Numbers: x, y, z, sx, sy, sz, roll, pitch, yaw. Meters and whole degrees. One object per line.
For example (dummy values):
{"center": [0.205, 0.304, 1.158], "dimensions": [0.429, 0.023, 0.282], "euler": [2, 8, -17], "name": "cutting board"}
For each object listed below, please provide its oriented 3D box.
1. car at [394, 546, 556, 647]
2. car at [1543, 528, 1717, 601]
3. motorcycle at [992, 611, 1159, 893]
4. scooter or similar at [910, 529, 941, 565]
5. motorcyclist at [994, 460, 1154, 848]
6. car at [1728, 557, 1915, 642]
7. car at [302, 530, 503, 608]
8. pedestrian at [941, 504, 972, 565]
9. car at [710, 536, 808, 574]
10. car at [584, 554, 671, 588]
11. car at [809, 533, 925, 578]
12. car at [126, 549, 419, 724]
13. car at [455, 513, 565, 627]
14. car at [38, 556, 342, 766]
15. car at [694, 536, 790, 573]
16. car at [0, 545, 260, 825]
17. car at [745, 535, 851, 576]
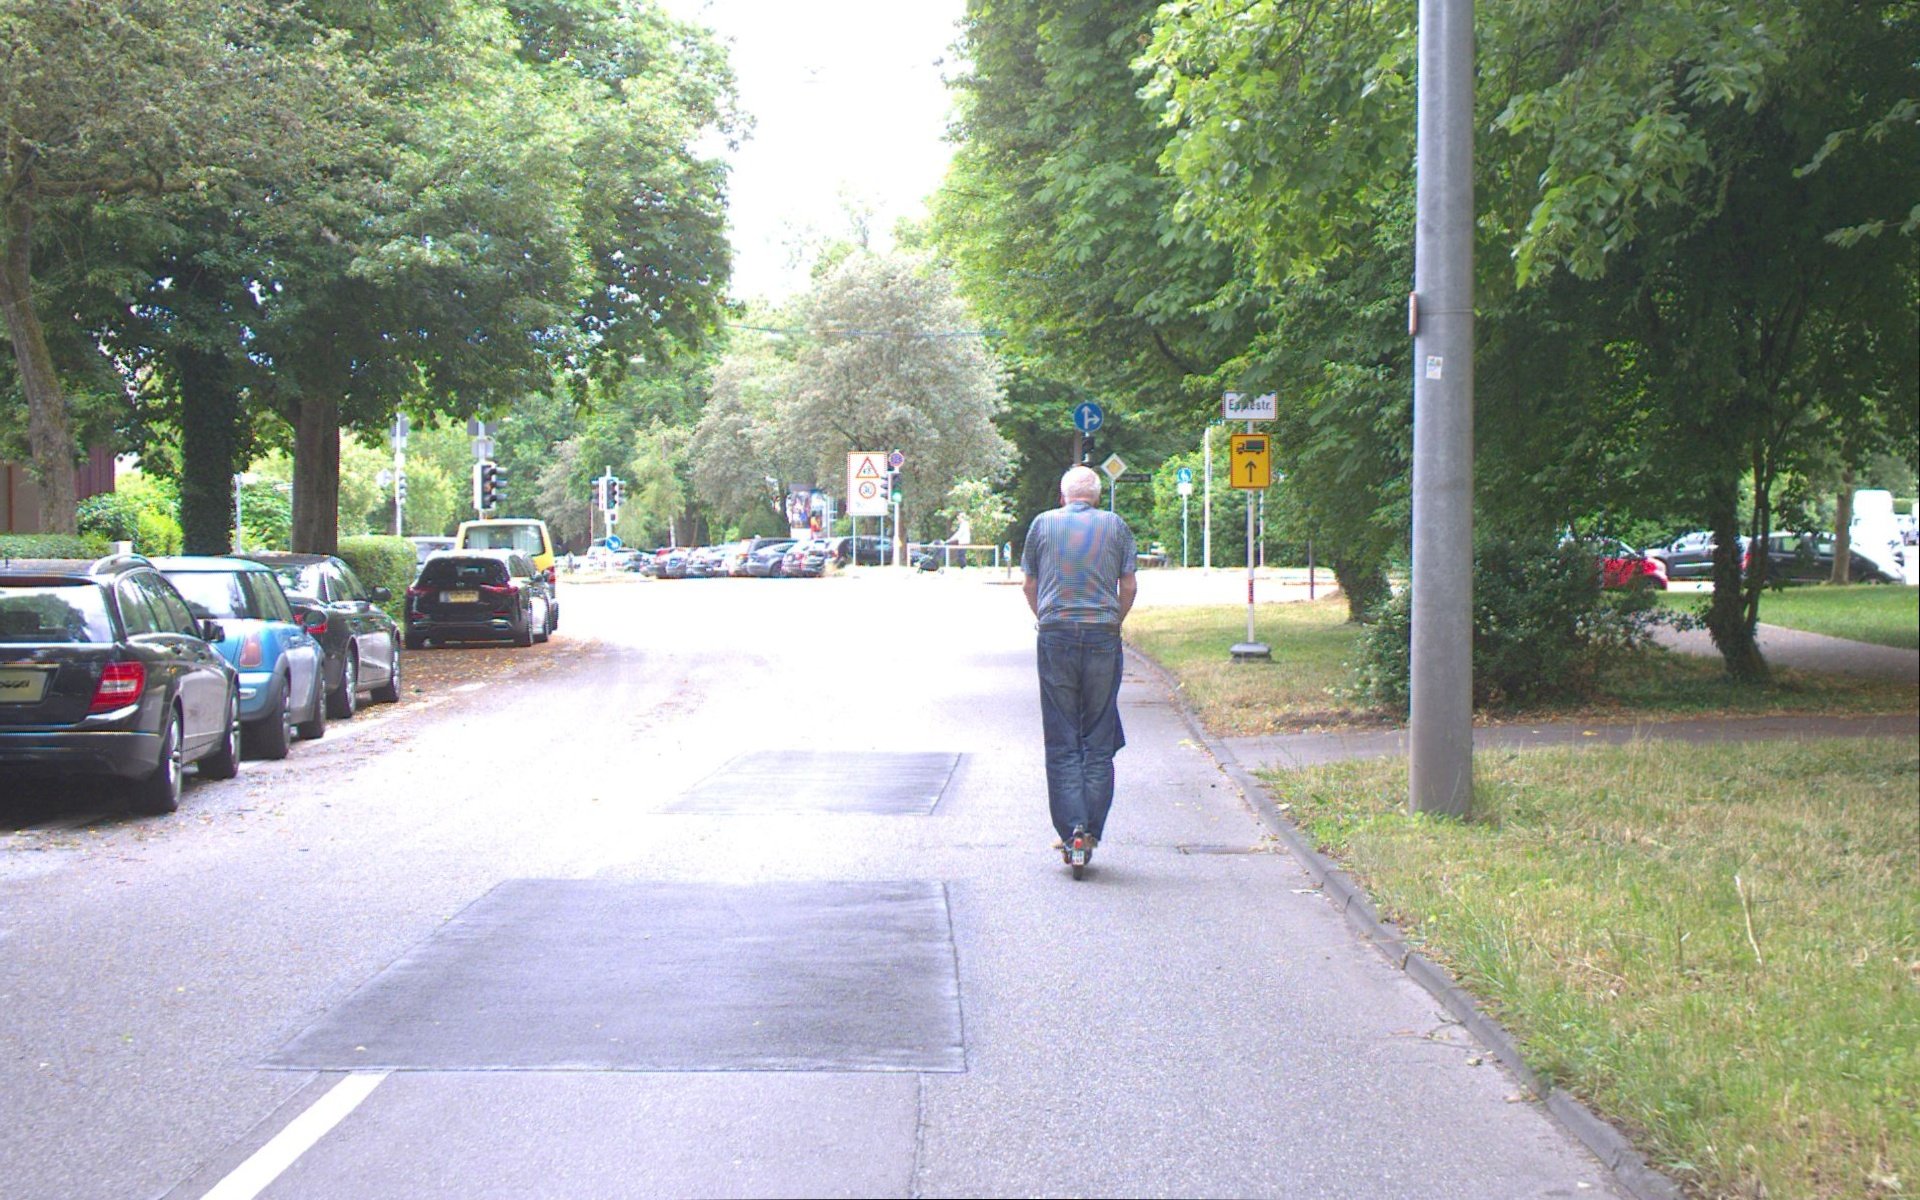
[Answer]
{"center": [-7.157, -0.075, 51.128], "dimensions": [1.891, 1.405, 4.554], "euler": [-1, 1, -2], "name": "car"}
{"center": [15.920, -0.860, 81.855], "dimensions": [3.989, 1.551, 1.800], "euler": [1, 4, 10], "name": "car"}
{"center": [0.518, 0.676, 15.861], "dimensions": [0.673, 1.213, 1.274], "euler": [1, 1, -1], "name": "motorcycle"}
{"center": [-1.002, -1.531, 99.877], "dimensions": [0.710, 1.045, 0.787], "euler": [0, 1, 17], "name": "scooter or similar"}
{"center": [0.523, 0.240, 15.987], "dimensions": [0.673, 1.755, 0.639], "euler": [1, 1, -1], "name": "motorcyclist"}
{"center": [20.220, -0.030, 80.667], "dimensions": [3.992, 1.720, 1.798], "euler": [2, 4, 23], "name": "car"}
{"center": [-11.336, -0.645, 70.115], "dimensions": [3.986, 1.505, 1.801], "euler": [0, 3, -8], "name": "car"}
{"center": [-0.105, -1.903, 99.556], "dimensions": [0.733, 1.756, 0.661], "euler": [0, 1, 17], "name": "pedestrian"}
{"center": [-8.373, -1.885, 143.034], "dimensions": [3.986, 1.505, 1.800], "euler": [-1, 1, -5], "name": "car"}
{"center": [-15.390, -1.337, 159.121], "dimensions": [3.986, 1.505, 1.800], "euler": [-1, 1, -5], "name": "car"}
{"center": [-3.325, -1.587, 122.099], "dimensions": [3.986, 1.505, 1.800], "euler": [-1, 1, -5], "name": "car"}
{"center": [-6.063, 0.267, 30.825], "dimensions": [1.794, 1.405, 4.645], "euler": [-1, 1, -2], "name": "car"}
{"center": [-8.146, -0.548, 62.147], "dimensions": [1.857, 1.957, 4.505], "euler": [-1, 0, -8], "name": "car"}
{"center": [-5.573, 0.389, 25.257], "dimensions": [1.664, 1.387, 3.707], "euler": [-1, 1, -5], "name": "car"}
{"center": [-9.197, -1.925, 144.901], "dimensions": [3.986, 1.505, 1.800], "euler": [-1, 1, -5], "name": "car"}
{"center": [-5.346, 0.423, 20.453], "dimensions": [1.794, 1.467, 4.419], "euler": [-1, 1, -5], "name": "car"}
{"center": [-6.248, -1.713, 132.390], "dimensions": [3.986, 1.505, 1.800], "euler": [-1, 1, -5], "name": "car"}
